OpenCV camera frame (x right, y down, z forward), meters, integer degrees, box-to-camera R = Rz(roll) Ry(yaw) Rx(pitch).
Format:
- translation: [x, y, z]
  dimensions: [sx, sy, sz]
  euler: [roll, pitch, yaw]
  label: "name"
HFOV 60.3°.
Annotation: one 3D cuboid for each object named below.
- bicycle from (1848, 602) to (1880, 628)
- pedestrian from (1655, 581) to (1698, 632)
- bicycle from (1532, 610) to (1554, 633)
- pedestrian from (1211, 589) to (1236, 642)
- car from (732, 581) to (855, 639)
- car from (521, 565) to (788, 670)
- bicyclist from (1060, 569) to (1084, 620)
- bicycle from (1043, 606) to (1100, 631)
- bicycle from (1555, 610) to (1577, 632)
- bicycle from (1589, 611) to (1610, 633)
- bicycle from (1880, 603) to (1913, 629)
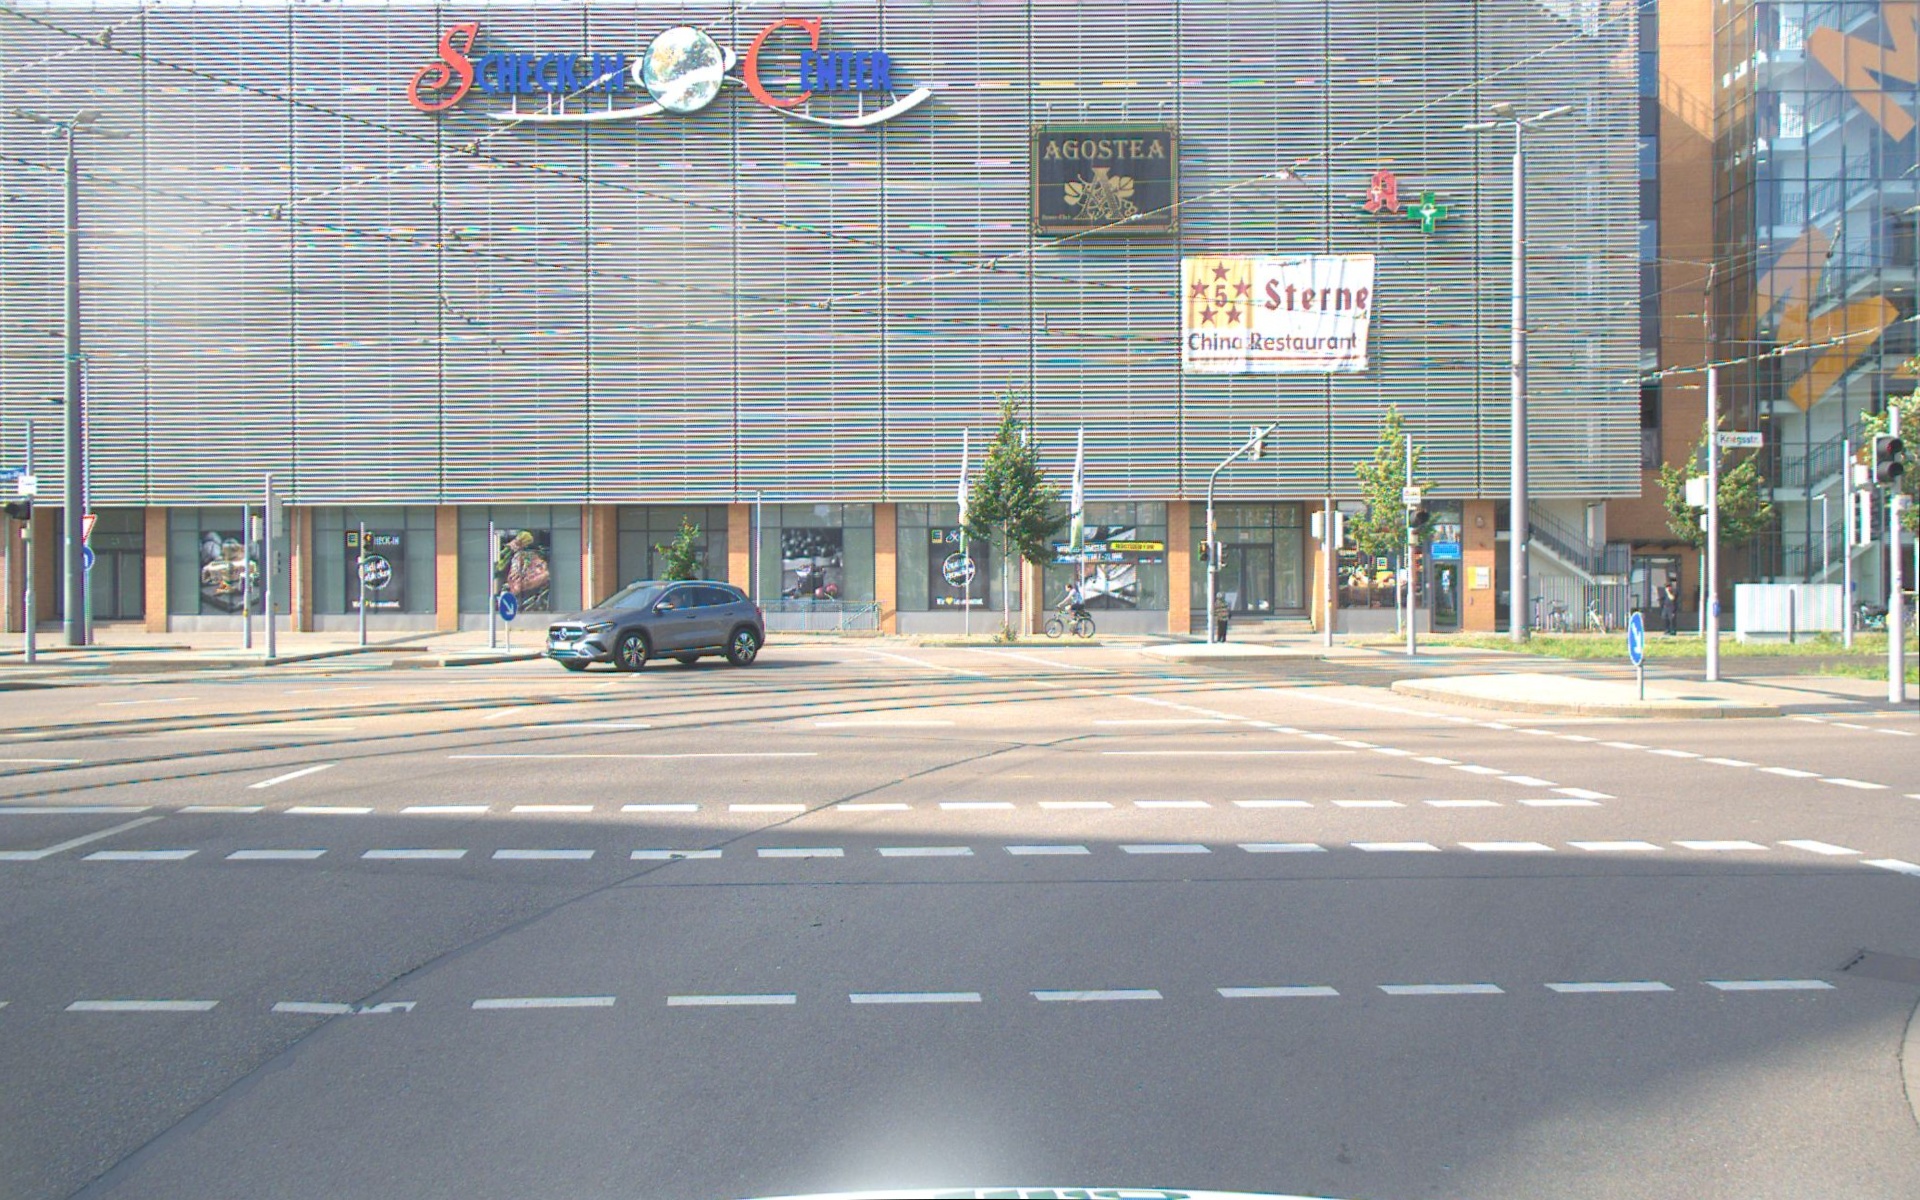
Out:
- translation: [32.462, 0.544, 59.415]
  dimensions: [0.251, 0.902, 1.467]
  euler: [1, -1, -3]
  label: "bicycle"
- translation: [24.674, 0.226, 56.969]
  dimensions: [1.148, 1.749, 0.820]
  euler: [-1, 0, 0]
  label: "pedestrian"
- translation: [20.326, 0.742, 57.638]
  dimensions: [0.441, 0.765, 1.006]
  euler: [-1, 0, 2]
  label: "bicycle"
- translation: [8.070, 0.463, 50.667]
  dimensions: [0.576, 1.607, 0.763]
  euler: [0, 0, -4]
  label: "pedestrian"
- translation: [-4.764, 0.297, 47.670]
  dimensions: [3.321, 1.587, 1.743]
  euler: [1, -1, 0]
  label: "car"
- translation: [-5.614, 0.335, 30.943]
  dimensions: [1.919, 1.814, 4.789]
  euler: [1, -1, 40]
  label: "car"
- translation: [3.693, -0.185, 54.487]
  dimensions: [0.697, 1.658, 0.568]
  euler: [1, -1, -1]
  label: "bicyclist"
- translation: [3.672, 0.600, 54.494]
  dimensions: [1.825, 0.793, 0.582]
  euler: [1, -1, -1]
  label: "bicycle"
- translation: [21.082, 0.733, 57.556]
  dimensions: [0.441, 0.765, 1.006]
  euler: [-1, 0, 2]
  label: "bicycle"
- translation: [22.245, 0.761, 57.530]
  dimensions: [0.352, 0.765, 1.024]
  euler: [-1, 0, 2]
  label: "bicycle"
- translation: [33.668, 0.569, 59.471]
  dimensions: [0.251, 0.845, 1.467]
  euler: [1, 2, -3]
  label: "bicycle"
